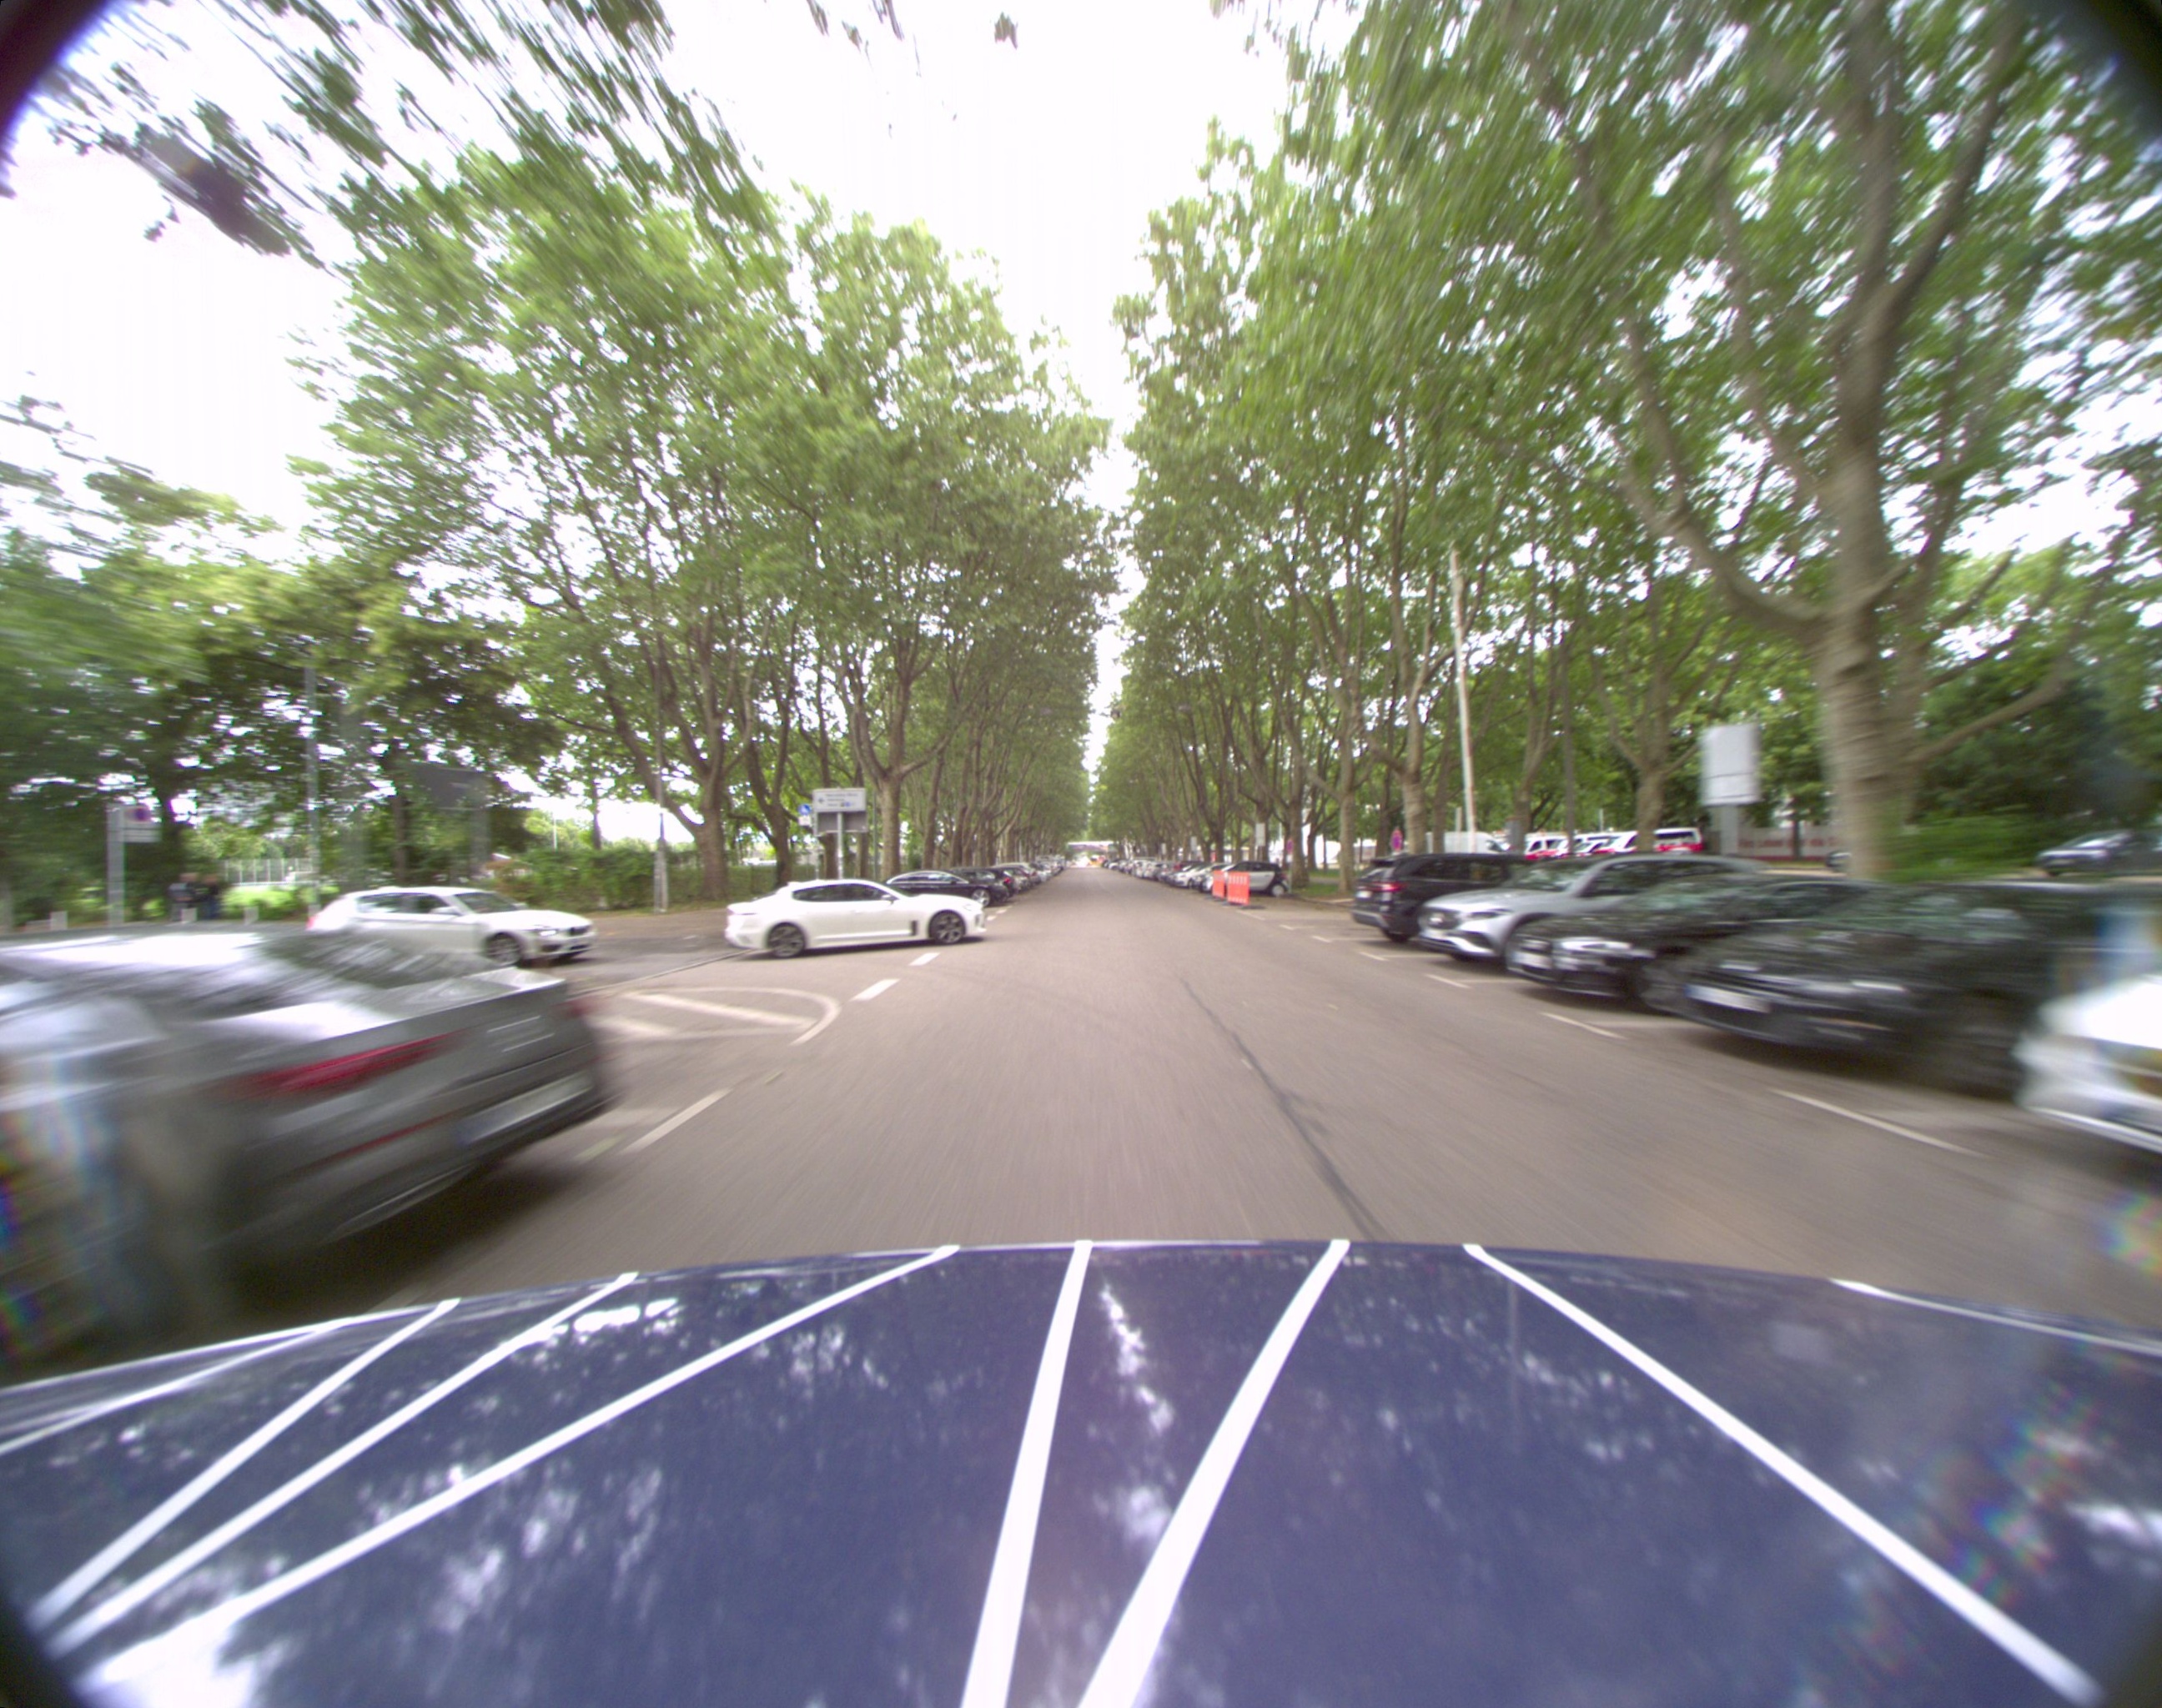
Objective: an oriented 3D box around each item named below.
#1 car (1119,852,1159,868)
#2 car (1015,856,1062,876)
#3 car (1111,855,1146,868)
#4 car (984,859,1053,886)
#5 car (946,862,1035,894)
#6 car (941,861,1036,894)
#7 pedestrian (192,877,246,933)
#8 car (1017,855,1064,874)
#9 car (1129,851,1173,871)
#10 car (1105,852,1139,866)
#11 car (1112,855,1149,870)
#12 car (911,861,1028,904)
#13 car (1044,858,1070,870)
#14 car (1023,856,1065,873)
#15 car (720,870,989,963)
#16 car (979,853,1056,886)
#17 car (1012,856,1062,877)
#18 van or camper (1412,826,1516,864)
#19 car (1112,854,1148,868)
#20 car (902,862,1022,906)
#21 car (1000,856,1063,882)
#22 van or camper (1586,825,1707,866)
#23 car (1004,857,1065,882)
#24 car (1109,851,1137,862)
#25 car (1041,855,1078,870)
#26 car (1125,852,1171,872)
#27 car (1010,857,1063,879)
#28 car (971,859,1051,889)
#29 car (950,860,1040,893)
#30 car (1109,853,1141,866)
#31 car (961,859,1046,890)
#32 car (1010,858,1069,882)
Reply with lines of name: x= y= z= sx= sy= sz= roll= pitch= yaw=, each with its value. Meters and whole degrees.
car: x=7.452 y=0.835 z=97.725 sx=4.919 sy=1.817 sz=2.000 roll=-2 pitch=-2 yaw=-3
car: x=-4.431 y=1.212 z=79.689 sx=4.674 sy=1.740 sz=2.001 roll=-4 pitch=0 yaw=5
car: x=5.798 y=0.962 z=92.940 sx=3.999 sy=1.422 sz=2.000 roll=-2 pitch=-2 yaw=-6
car: x=-4.507 y=1.314 z=55.411 sx=4.674 sy=1.602 sz=2.001 roll=-4 pitch=0 yaw=5
car: x=-4.525 y=1.202 z=38.367 sx=4.097 sy=1.516 sz=1.825 roll=-2 pitch=0 yaw=9
car: x=-4.938 y=1.265 z=40.991 sx=4.673 sy=1.514 sz=1.905 roll=-3 pitch=0 yaw=6
pedestrian: x=-25.327 y=1.487 z=22.335 sx=0.724 sy=1.558 sz=0.698 roll=-2 pitch=1 yaw=7
car: x=-4.368 y=1.172 z=82.439 sx=4.674 sy=1.740 sz=2.001 roll=-4 pitch=0 yaw=5
car: x=7.382 y=0.722 z=80.341 sx=4.492 sy=1.740 sz=2.001 roll=-4 pitch=0 yaw=5
car: x=6.079 y=0.744 z=112.920 sx=4.919 sy=1.817 sz=2.000 roll=-2 pitch=-2 yaw=-3
car: x=5.677 y=0.994 z=87.785 sx=3.997 sy=1.422 sz=2.001 roll=-2 pitch=-2 yaw=-1
car: x=-4.740 y=1.199 z=32.866 sx=4.676 sy=1.514 sz=2.000 roll=-4 pitch=0 yaw=-2
car: x=-3.714 y=1.594 z=118.521 sx=3.998 sy=1.641 sz=1.999 roll=-2 pitch=1 yaw=-4
car: x=-4.437 y=1.231 z=90.547 sx=4.674 sy=1.740 sz=2.001 roll=-4 pitch=0 yaw=5
car: x=-4.256 y=1.160 z=14.929 sx=4.679 sy=1.375 sz=1.999 roll=-3 pitch=-1 yaw=-10
car: x=-4.182 y=1.011 z=50.471 sx=4.674 sy=1.891 sz=2.001 roll=-4 pitch=0 yaw=5
car: x=-4.339 y=1.231 z=75.800 sx=4.674 sy=1.740 sz=2.001 roll=-4 pitch=0 yaw=5
van or camper: x=23.606 y=-0.545 z=46.941 sx=5.299 sy=2.087 sz=2.244 roll=-2 pitch=1 yaw=-2
car: x=6.998 y=1.025 z=109.480 sx=4.919 sy=1.817 sz=2.000 roll=-2 pitch=-2 yaw=-3
car: x=-4.607 y=1.141 z=29.921 sx=4.383 sy=1.469 sz=1.999 roll=-2 pitch=1 yaw=-2
car: x=-3.943 y=1.220 z=60.768 sx=4.674 sy=1.740 sz=2.001 roll=-4 pitch=0 yaw=5
van or camper: x=34.723 y=-0.538 z=46.789 sx=5.719 sy=2.242 sz=2.329 roll=-2 pitch=1 yaw=0
car: x=-3.856 y=1.253 z=62.959 sx=4.674 sy=1.740 sz=2.001 roll=-4 pitch=0 yaw=5
car: x=7.706 y=0.448 z=139.020 sx=4.919 sy=1.817 sz=2.000 roll=-2 pitch=-2 yaw=-3
car: x=-2.882 y=1.099 z=103.310 sx=4.674 sy=1.740 sz=2.001 roll=-4 pitch=0 yaw=5
car: x=6.770 y=0.780 z=76.897 sx=4.492 sy=1.740 sz=2.001 roll=-4 pitch=0 yaw=5
car: x=-4.190 y=1.294 z=72.444 sx=4.674 sy=1.740 sz=2.001 roll=-4 pitch=0 yaw=5
car: x=-4.365 y=1.233 z=47.884 sx=4.674 sy=1.514 sz=2.001 roll=-4 pitch=0 yaw=5
car: x=-4.847 y=1.252 z=43.222 sx=4.673 sy=1.514 sz=2.001 roll=-4 pitch=0 yaw=6
car: x=6.979 y=0.904 z=120.775 sx=4.919 sy=1.817 sz=2.000 roll=-2 pitch=-2 yaw=-3
car: x=-4.608 y=1.203 z=45.518 sx=4.674 sy=1.514 sz=2.001 roll=-4 pitch=0 yaw=5
car: x=-3.526 y=1.333 z=65.432 sx=4.674 sy=1.740 sz=2.001 roll=-4 pitch=0 yaw=5
